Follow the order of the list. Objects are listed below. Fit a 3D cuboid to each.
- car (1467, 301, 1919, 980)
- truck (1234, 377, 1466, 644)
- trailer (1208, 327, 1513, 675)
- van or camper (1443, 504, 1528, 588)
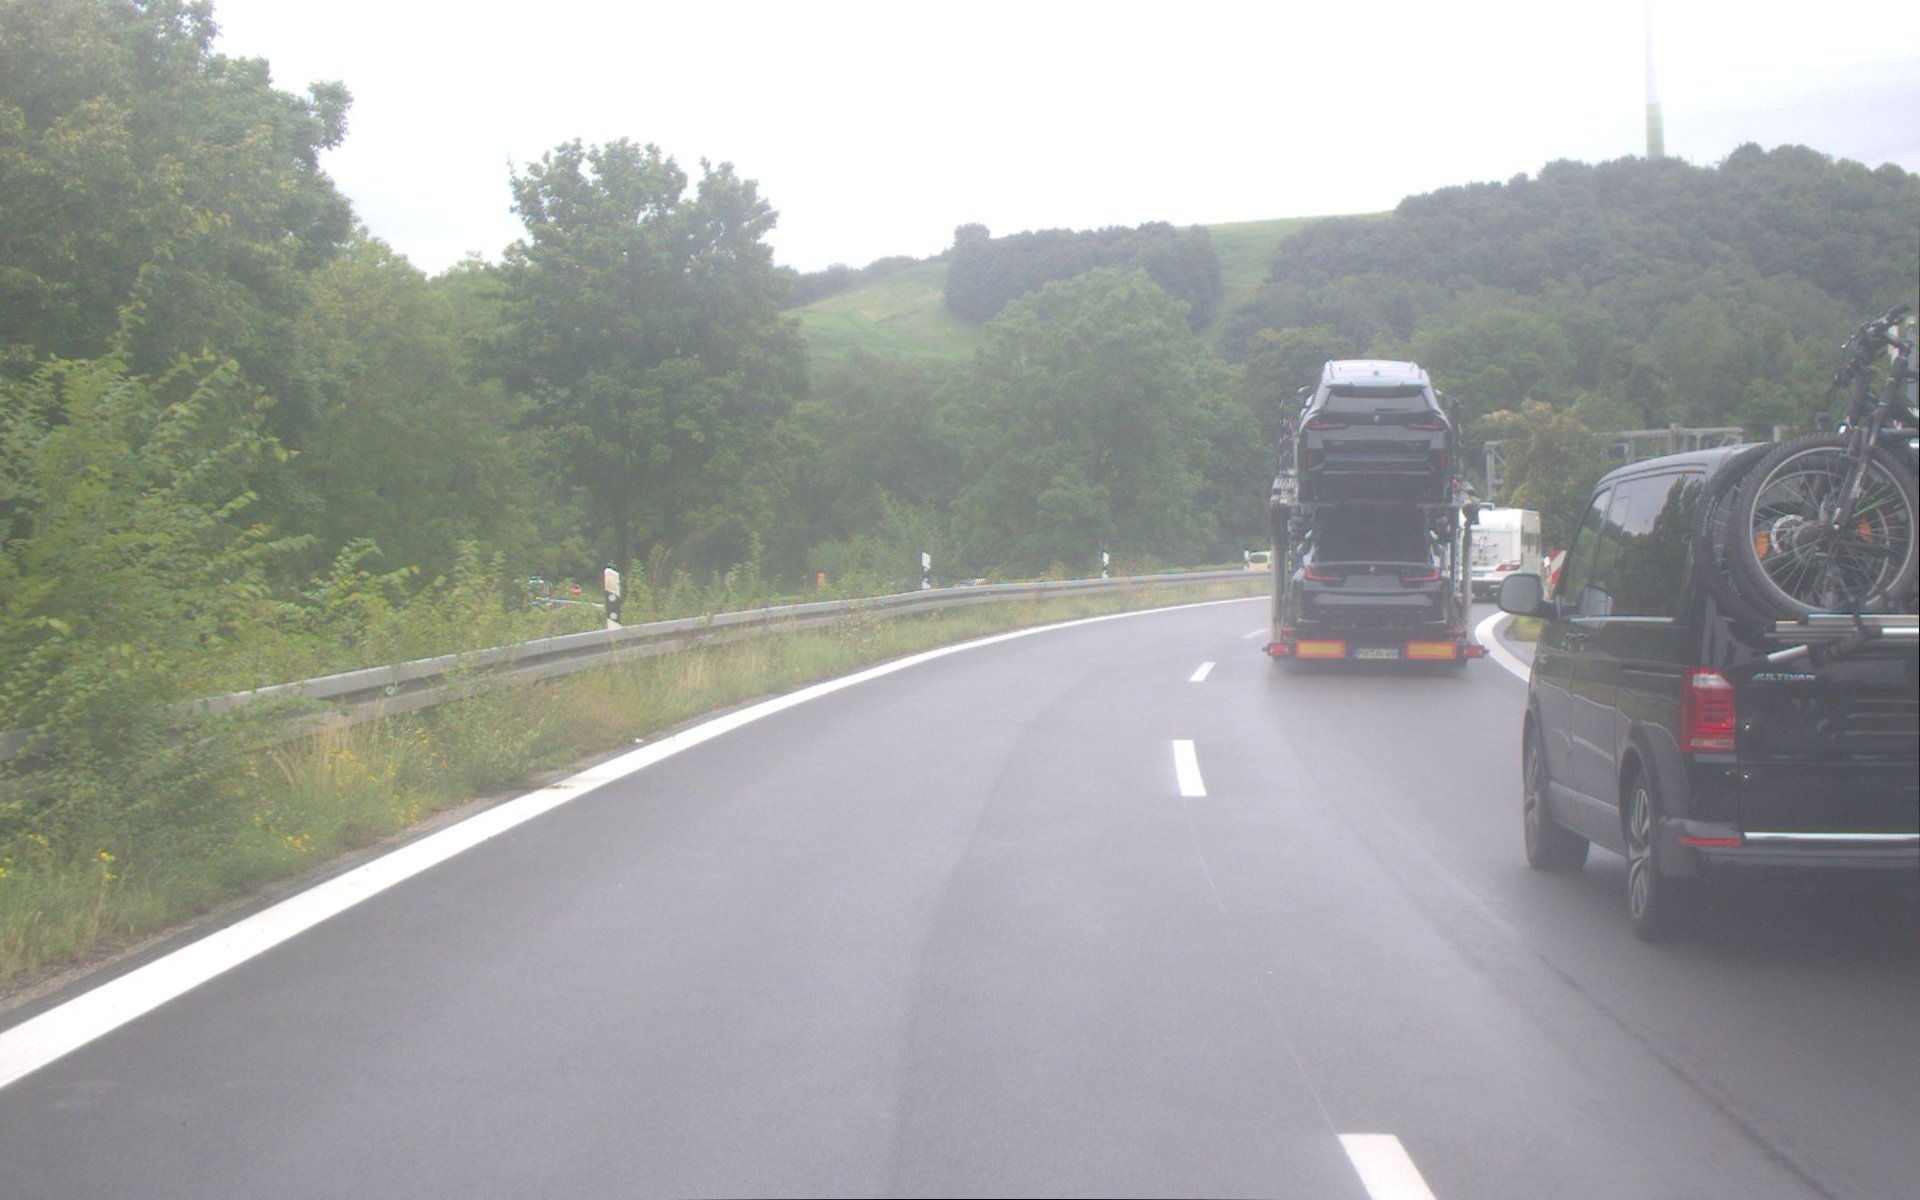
[{"bbox_3d":[3.517,0.089,14.451,2.110,2.257,5.896,1,1,3],"label":"car"},{"bbox_3d":[6.432,-1.446,57.464,3.395,3.986,10.845,1,1,6],"label":"truck"},{"bbox_3d":[5.243,-1.254,46.028,3.450,3.986,12.024,1,1,6],"label":"trailer"},{"bbox_3d":[14.500,-1.488,94.767,2.093,2.224,4.429,1,1,11],"label":"van or camper"}]
